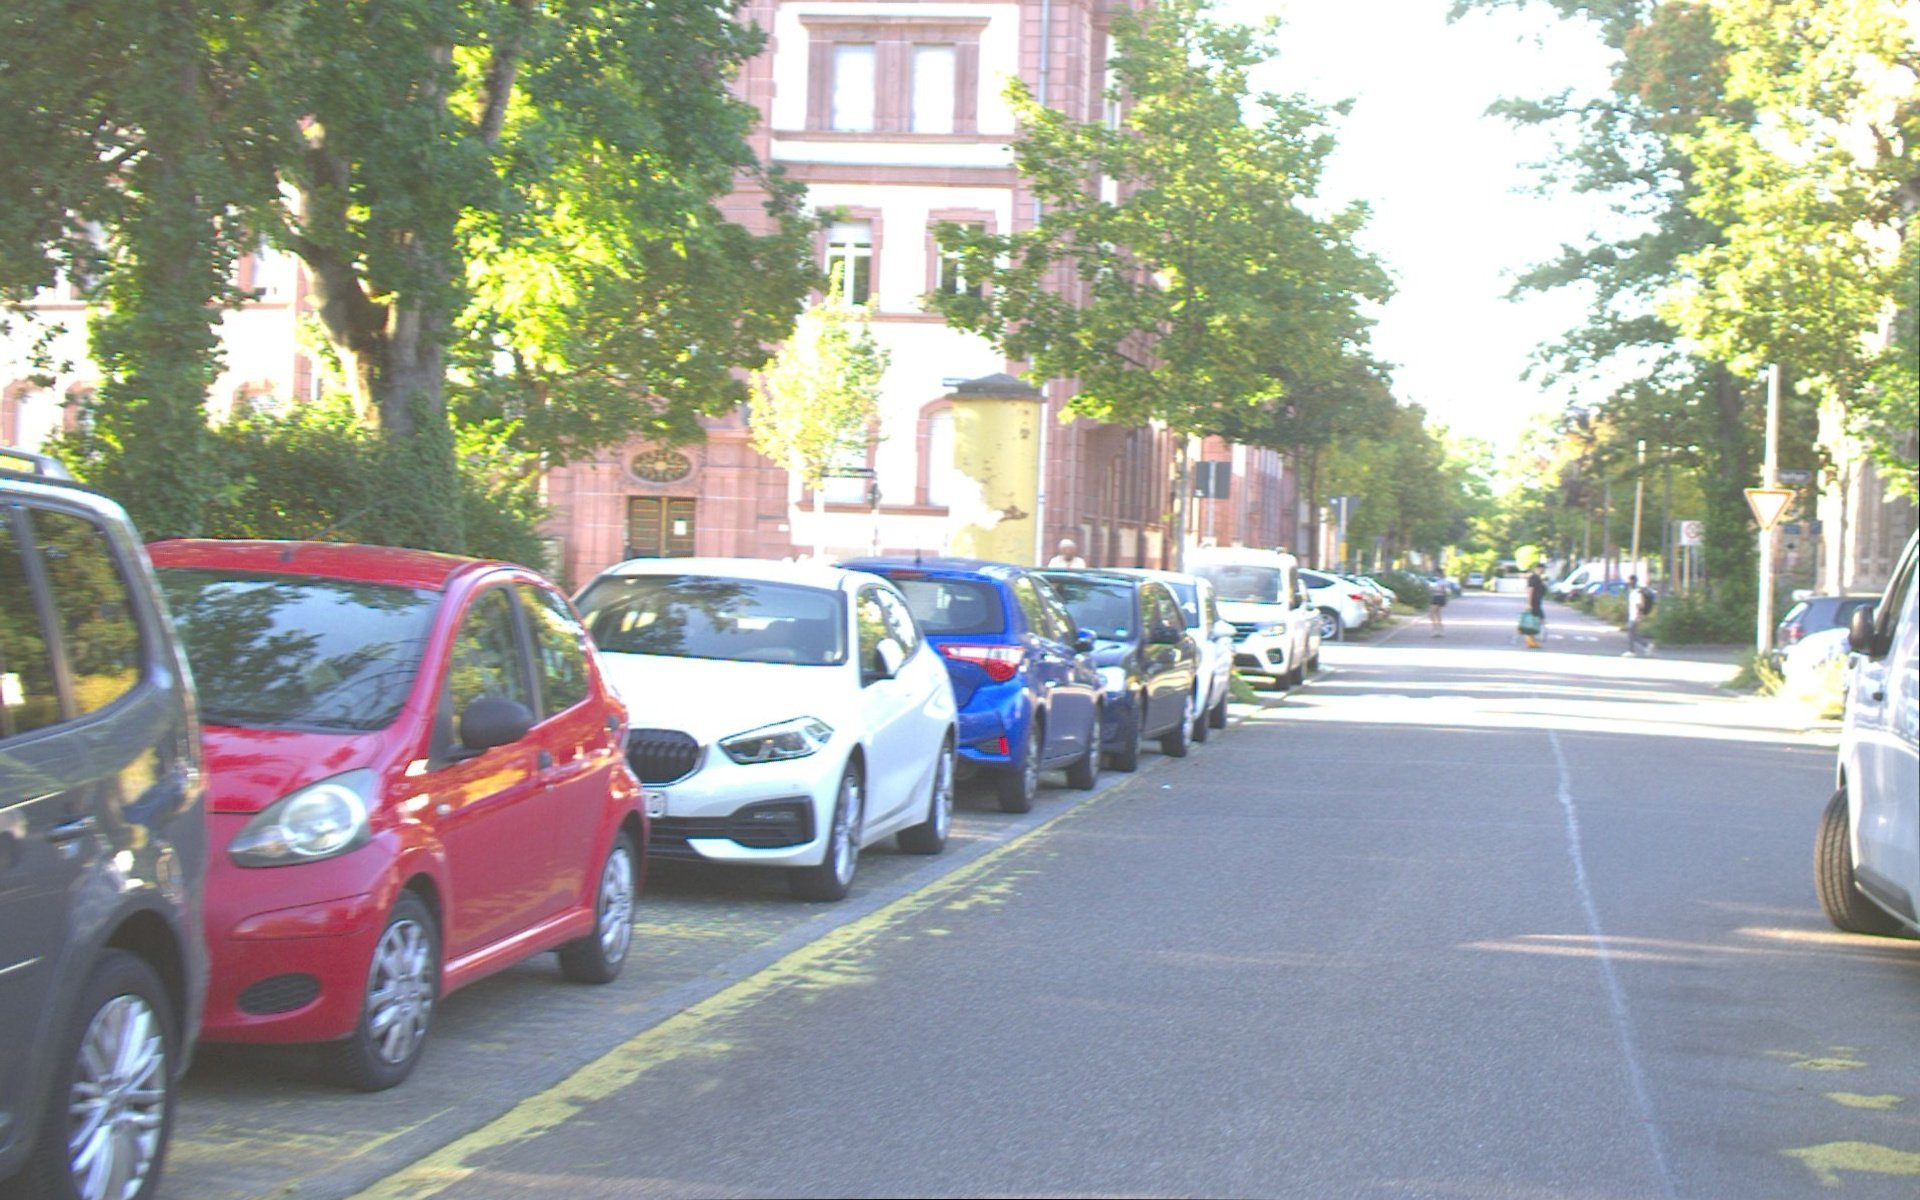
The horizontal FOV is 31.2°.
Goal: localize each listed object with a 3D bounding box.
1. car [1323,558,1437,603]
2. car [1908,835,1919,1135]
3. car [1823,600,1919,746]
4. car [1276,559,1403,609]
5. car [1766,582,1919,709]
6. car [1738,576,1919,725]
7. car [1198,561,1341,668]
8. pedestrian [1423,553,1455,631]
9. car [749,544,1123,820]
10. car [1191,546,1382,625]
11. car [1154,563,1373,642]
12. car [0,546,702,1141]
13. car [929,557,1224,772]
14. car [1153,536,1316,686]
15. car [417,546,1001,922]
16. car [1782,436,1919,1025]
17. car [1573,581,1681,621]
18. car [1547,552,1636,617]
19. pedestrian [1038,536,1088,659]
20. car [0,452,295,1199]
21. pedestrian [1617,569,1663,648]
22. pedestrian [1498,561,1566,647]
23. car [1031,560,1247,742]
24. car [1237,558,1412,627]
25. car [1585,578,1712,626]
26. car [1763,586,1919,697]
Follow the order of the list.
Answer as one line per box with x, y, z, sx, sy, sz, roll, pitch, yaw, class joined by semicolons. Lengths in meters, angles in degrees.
16.955;-0.809;138.787;4.484;1.602;1.842;3;1;7;car
3.343;0.856;7.513;1.766;1.463;4.864;2;1;8;car
10.990;0.729;34.095;4.591;1.410;1.922;0;-1;11;car
13.728;-0.574;124.305;4.484;1.602;1.842;3;1;7;car
12.979;0.633;44.954;4.492;1.544;1.891;2;1;7;car
10.811;0.592;39.004;3.493;1.579;1.762;2;1;0;car
4.827;0.198;53.133;1.782;1.500;4.551;3;1;10;car
12.157;-0.204;87.292;0.718;1.955;0.787;2;0;7;pedestrian
-0.063;0.456;21.921;1.639;1.490;3.703;4;1;10;car
7.898;-0.366;83.030;4.484;1.711;1.842;2;1;7;car
6.956;0.040;78.539;4.844;1.588;1.842;2;1;7;car
-1.938;0.598;10.519;1.388;1.418;3.425;4;1;10;car
0.983;0.447;26.890;1.552;1.489;3.940;2;1;13;car
3.706;0.111;45.745;1.781;1.834;4.551;2;1;9;car
-1.014;0.521;15.990;1.691;1.401;3.973;4;1;10;car
4.520;0.449;13.464;1.953;2.007;5.152;2;1;8;car
29.909;0.039;154.312;4.584;1.602;1.842;3;1;7;car
36.893;-0.913;201.018;4.888;3.605;1.841;3;1;9;car
1.533;-0.039;50.950;0.599;1.778;0.946;2;1;6;pedestrian
-2.792;0.507;5.646;1.802;1.670;4.319;4;1;10;car
14.180;0.183;71.715;0.785;1.601;0.720;2;0;4;pedestrian
12.830;0.089;77.130;1.060;1.851;1.002;2;1;-22;pedestrian
1.716;0.421;31.854;1.593;1.521;3.864;2;1;8;car
9.651;-0.203;90.918;4.484;1.602;1.842;3;1;7;car
25.789;0.069;128.933;4.484;1.602;1.842;3;1;7;car
13.749;0.641;49.927;3.956;1.511;1.873;2;-2;11;car
